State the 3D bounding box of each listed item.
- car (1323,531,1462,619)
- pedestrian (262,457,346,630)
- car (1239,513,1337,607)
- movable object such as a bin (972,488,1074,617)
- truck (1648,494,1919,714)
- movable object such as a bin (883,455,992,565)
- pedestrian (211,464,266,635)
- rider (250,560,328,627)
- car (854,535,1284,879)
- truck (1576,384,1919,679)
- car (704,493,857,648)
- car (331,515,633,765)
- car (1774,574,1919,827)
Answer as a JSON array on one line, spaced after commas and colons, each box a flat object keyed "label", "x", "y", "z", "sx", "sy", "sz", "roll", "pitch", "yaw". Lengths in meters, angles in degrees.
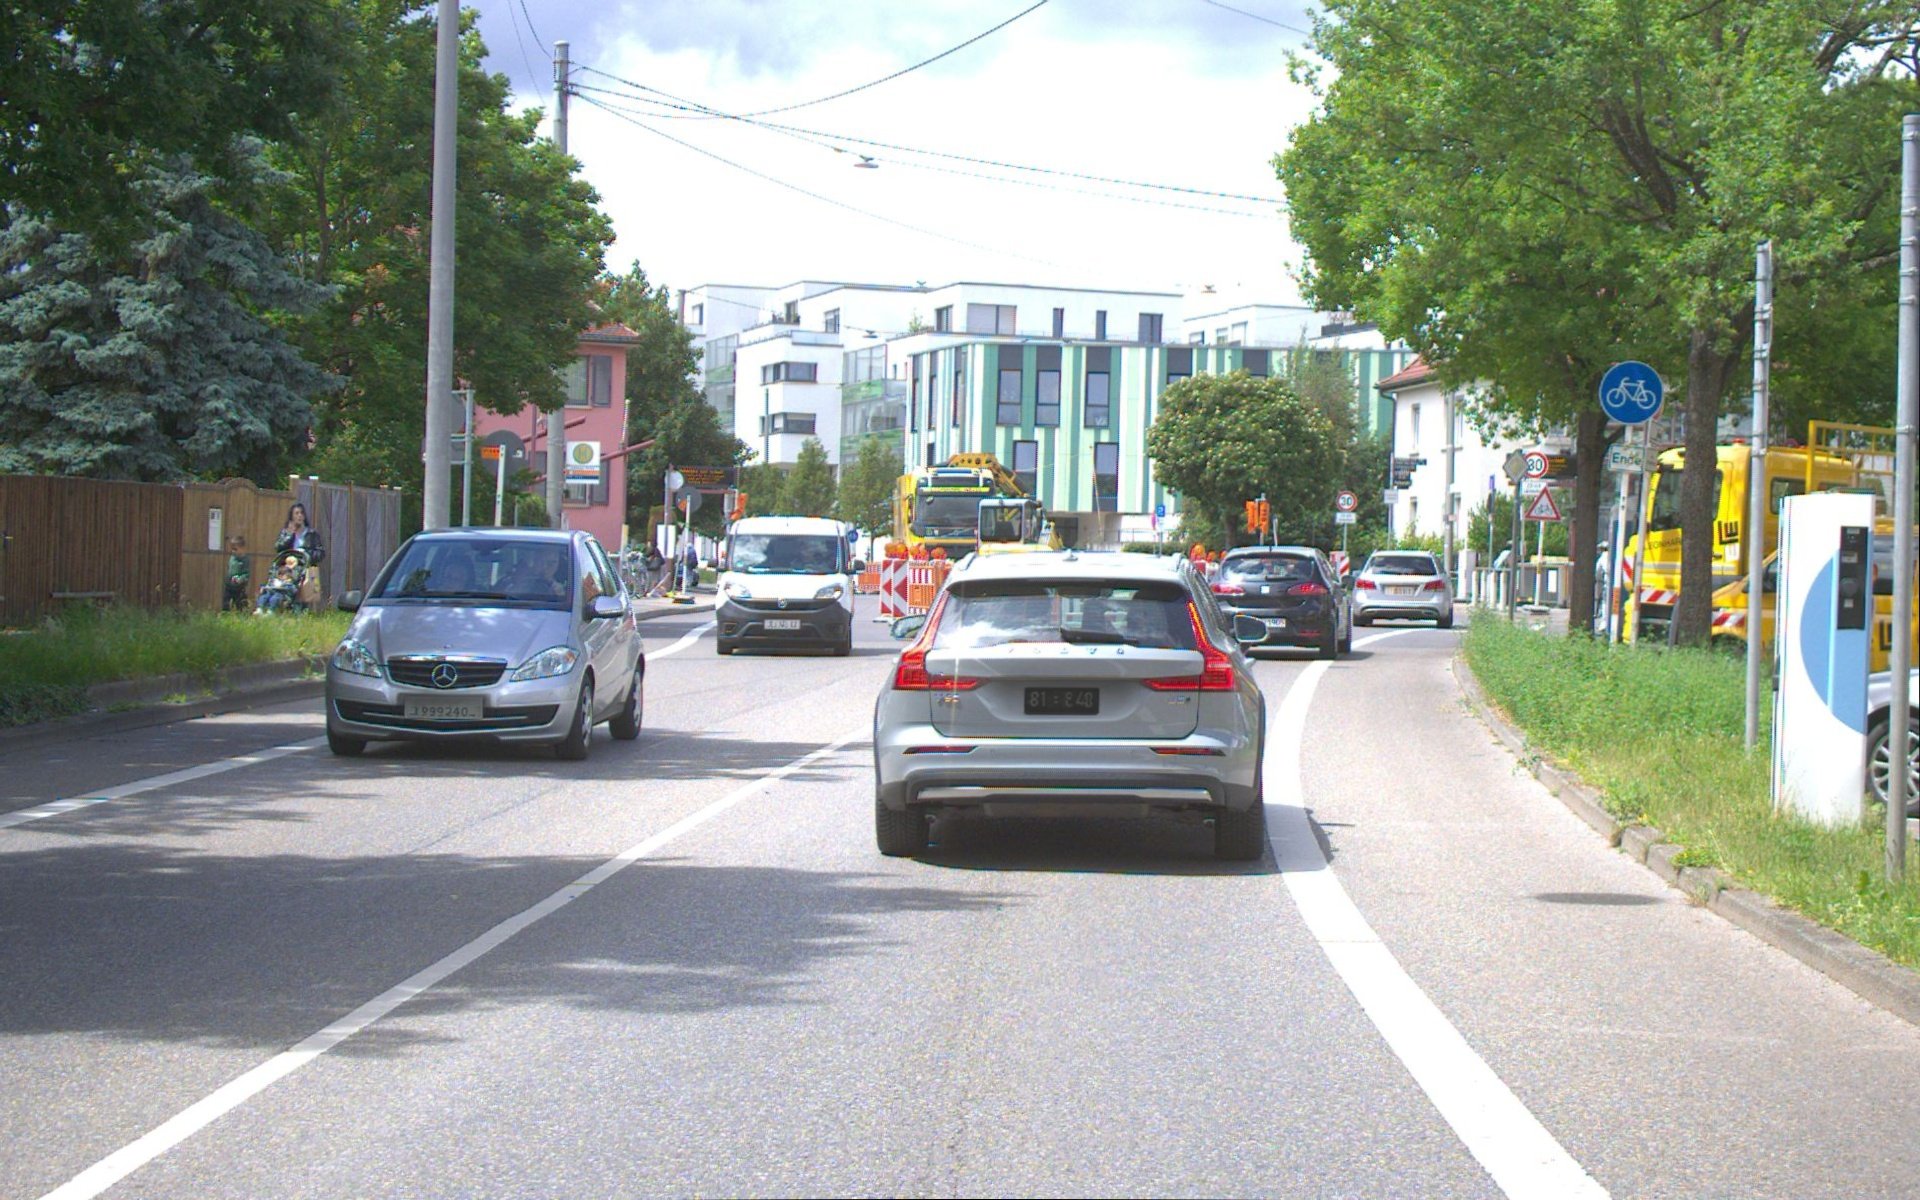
[{"label": "car", "x": 8.301, "y": -0.460, "z": 66.304, "sx": 2.102, "sy": 1.505, "sz": 4.000, "roll": 4, "pitch": 0, "yaw": 1}, {"label": "pedestrian", "x": -7.864, "y": -0.673, "z": 41.221, "sx": 0.715, "sy": 2.007, "sz": 0.771, "roll": 4, "pitch": 0, "yaw": 0}, {"label": "car", "x": 7.876, "y": -0.923, "z": 82.342, "sx": 1.994, "sy": 2.007, "sz": 3.998, "roll": 4, "pitch": 0, "yaw": 9}, {"label": "movable object such as a bin", "x": 1.369, "y": -1.038, "z": 74.255, "sx": 2.034, "sy": 2.634, "sz": 5.940, "roll": 1, "pitch": 1, "yaw": 1}, {"label": "truck", "x": 9.641, "y": 0.113, "z": 33.320, "sx": 1.994, "sy": 2.007, "sz": 5.676, "roll": 5, "pitch": 0, "yaw": -41}, {"label": "movable object such as a bin", "x": -0.685, "y": -2.542, "z": 97.688, "sx": 2.310, "sy": 2.980, "sz": 6.428, "roll": 1, "pitch": 1, "yaw": -7}, {"label": "pedestrian", "x": -8.623, "y": -0.599, "z": 41.088, "sx": 0.402, "sy": 2.007, "sz": 0.414, "roll": 4, "pitch": -1, "yaw": 4}, {"label": "rider", "x": -7.890, "y": -0.070, "z": 40.445, "sx": 0.728, "sy": 0.732, "sz": 0.690, "roll": 4, "pitch": 0, "yaw": -1}, {"label": "car", "x": 0.570, "y": 0.454, "z": 17.512, "sx": 1.928, "sy": 1.535, "sz": 4.000, "roll": 0, "pitch": 1, "yaw": 2}, {"label": "truck", "x": 10.250, "y": -0.665, "z": 36.676, "sx": 2.762, "sy": 2.998, "sz": 6.703, "roll": 5, "pitch": -1, "yaw": -44}, {"label": "car", "x": -2.357, "y": -0.364, "z": 45.975, "sx": 1.848, "sy": 1.869, "sz": 4.594, "roll": 3, "pitch": 0, "yaw": -2}, {"label": "car", "x": -3.367, "y": 0.273, "z": 24.849, "sx": 1.708, "sy": 1.612, "sz": 4.000, "roll": 2, "pitch": 0, "yaw": -2}, {"label": "car", "x": 7.210, "y": 0.690, "z": 19.788, "sx": 1.763, "sy": 1.447, "sz": 4.688, "roll": 2, "pitch": 1, "yaw": -42}]
